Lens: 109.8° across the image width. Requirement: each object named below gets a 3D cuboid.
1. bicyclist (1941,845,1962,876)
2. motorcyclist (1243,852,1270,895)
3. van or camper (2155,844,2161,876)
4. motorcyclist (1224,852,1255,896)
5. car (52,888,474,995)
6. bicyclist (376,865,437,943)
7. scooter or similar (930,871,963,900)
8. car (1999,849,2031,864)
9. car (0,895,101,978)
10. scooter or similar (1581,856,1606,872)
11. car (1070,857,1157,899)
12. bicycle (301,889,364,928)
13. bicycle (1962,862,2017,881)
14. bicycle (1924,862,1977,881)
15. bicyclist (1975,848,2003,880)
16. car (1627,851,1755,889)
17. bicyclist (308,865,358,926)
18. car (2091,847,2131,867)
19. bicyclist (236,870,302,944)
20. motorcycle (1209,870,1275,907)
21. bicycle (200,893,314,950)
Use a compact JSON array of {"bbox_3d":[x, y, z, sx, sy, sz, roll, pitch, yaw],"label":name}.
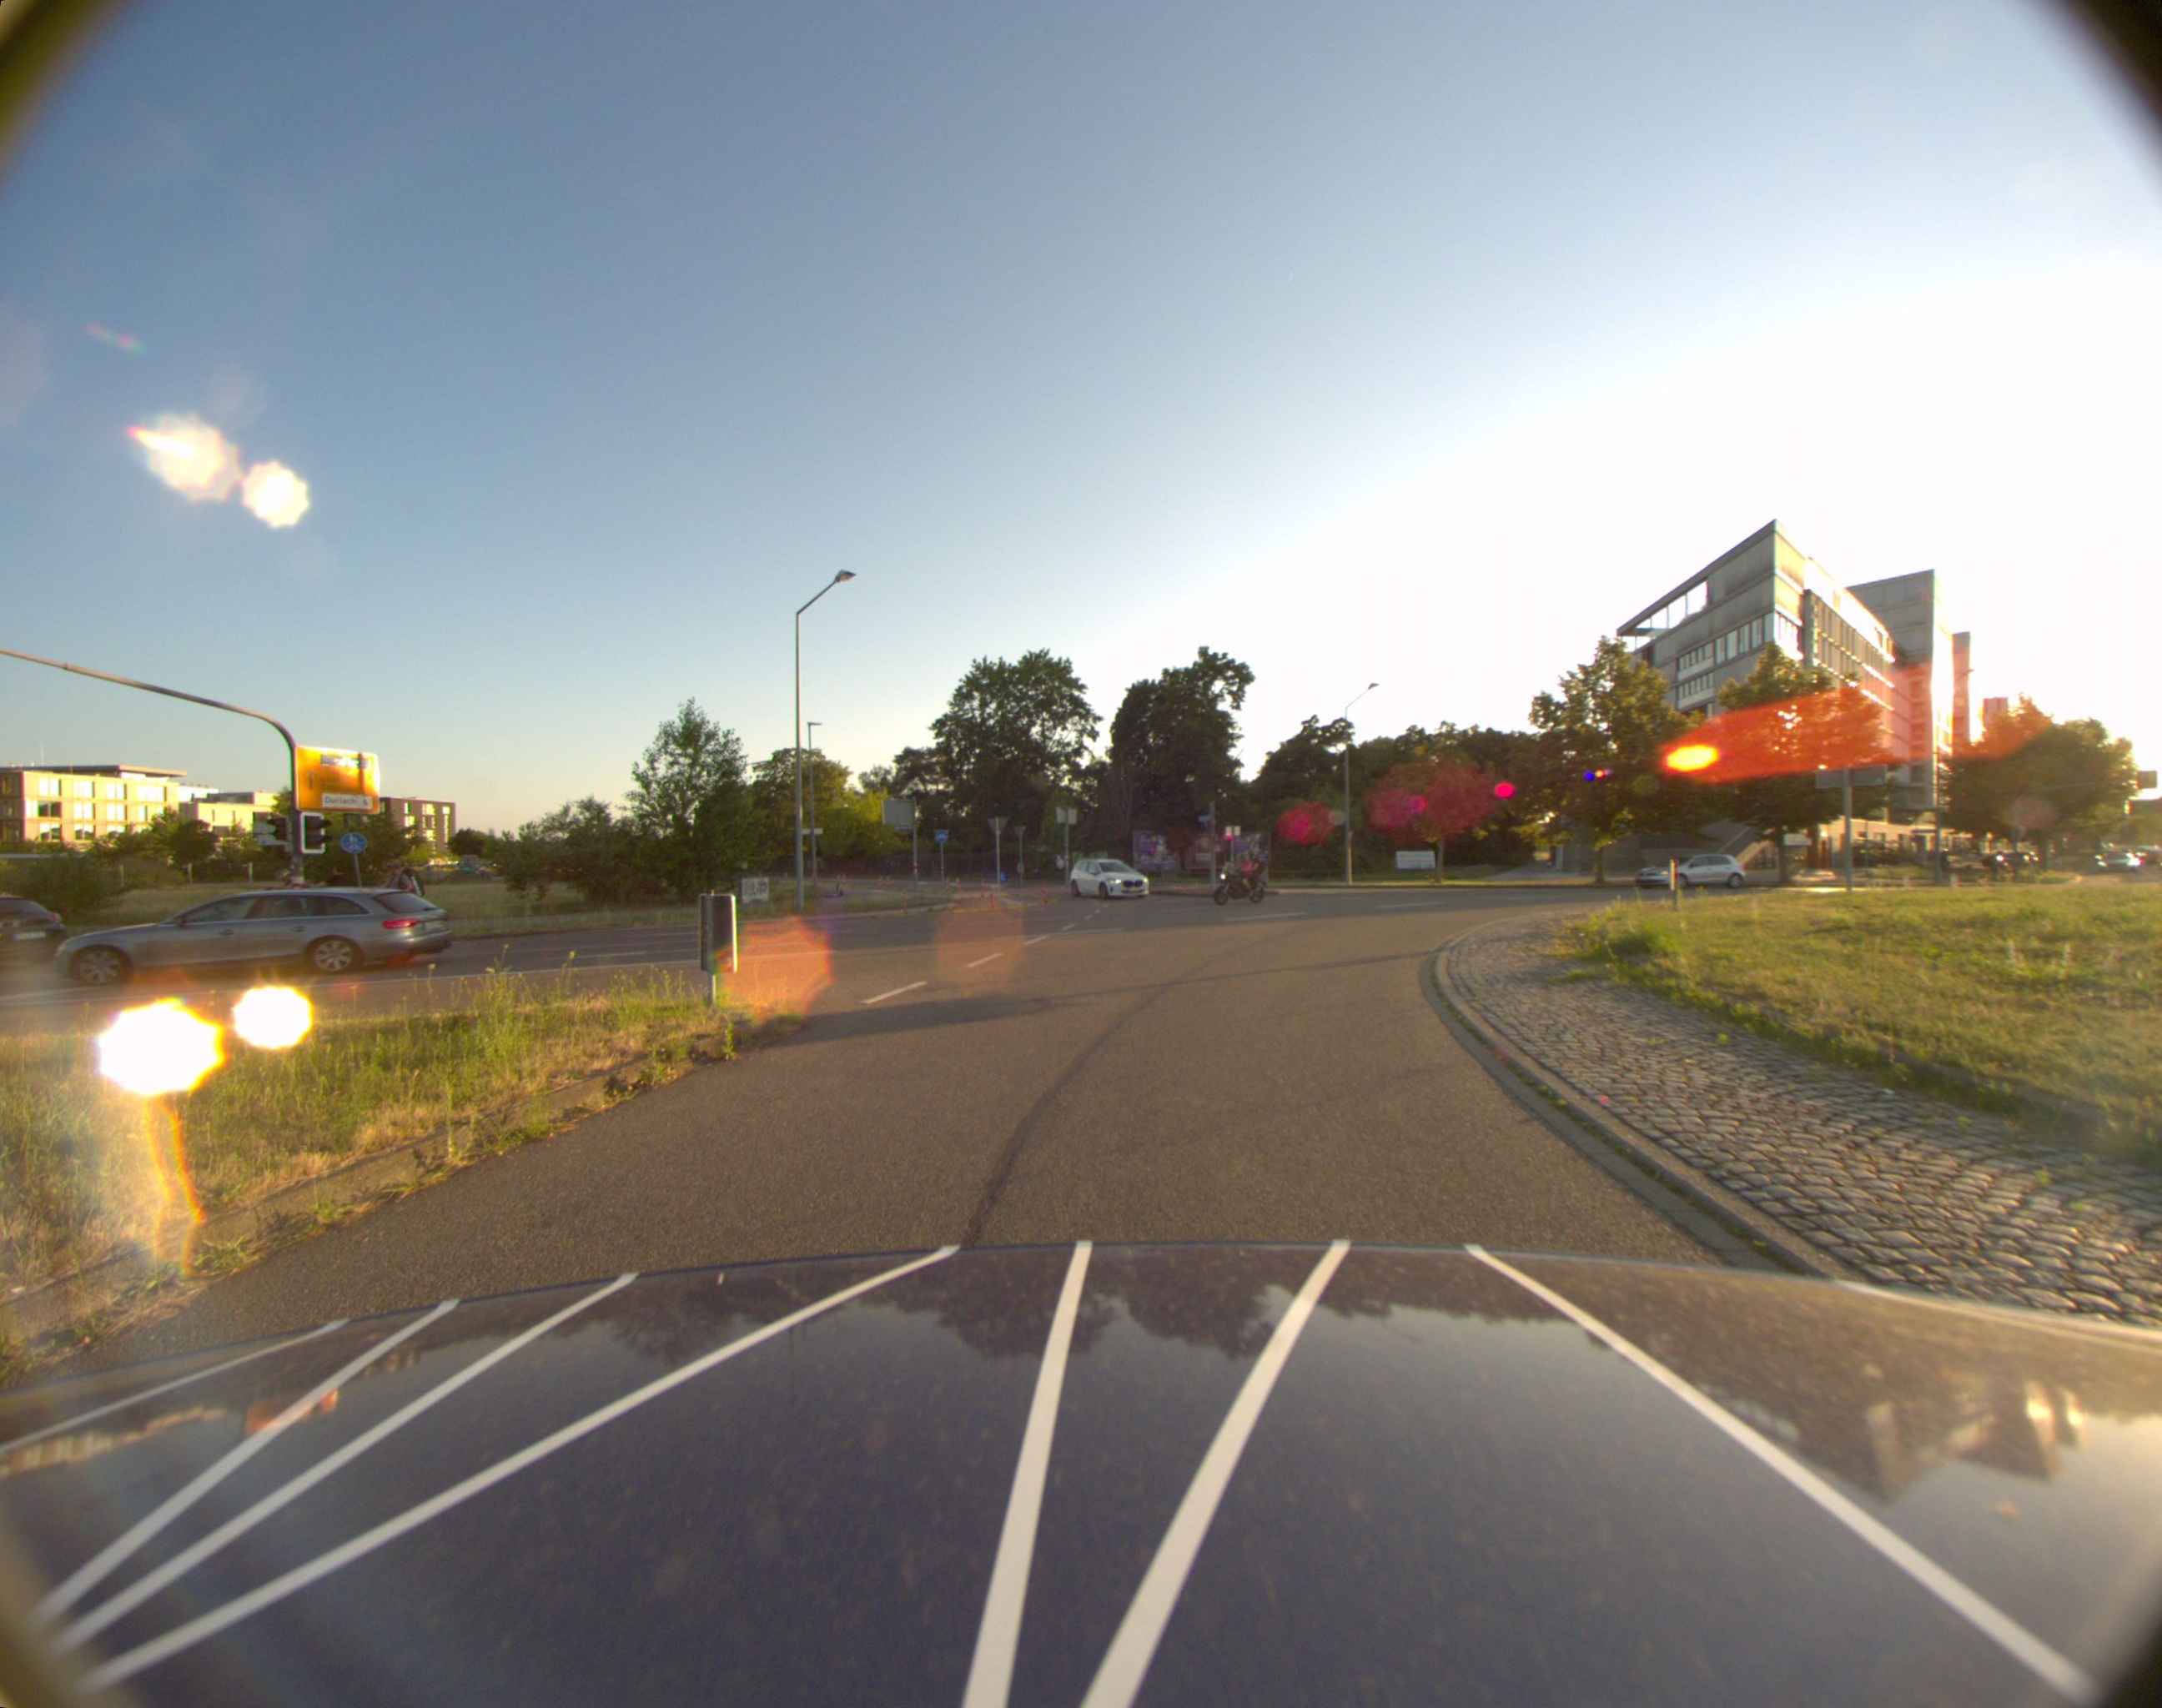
[{"bbox_3d":[47.216,0.357,41.223,0.682,1.638,0.685,0,0,44],"label":"bicyclist"},{"bbox_3d":[5.780,0.639,25.038,0.595,1.400,0.635,-1,1,-22],"label":"motorcyclist"},{"bbox_3d":[68.476,0.334,46.992,5.337,1.946,1.995,-1,0,-31],"label":"van or camper"},{"bbox_3d":[5.163,0.633,24.779,0.715,1.408,0.687,-1,1,-22],"label":"motorcyclist"},{"bbox_3d":[-13.161,1.343,12.601,4.451,1.414,1.801,0,0,-16],"label":"car"},{"bbox_3d":[-17.051,1.245,19.237,0.641,1.887,0.910,-1,2,1],"label":"bicyclist"},{"bbox_3d":[-5.590,1.294,31.580,0.441,1.156,1.386,0,0,39],"label":"scooter or similar"},{"bbox_3d":[89.553,0.222,72.824,4.008,1.455,1.798,0,0,-37],"label":"car"},{"bbox_3d":[-22.067,1.580,14.399,4.002,1.455,1.801,0,0,-14],"label":"car"},{"bbox_3d":[39.176,0.791,58.063,0.367,1.213,1.573,-1,0,-27],"label":"scooter or similar"},{"bbox_3d":[1.241,0.940,30.977,1.893,1.549,4.087,-1,0,-25],"label":"car"},{"bbox_3d":[-21.774,1.574,22.105,1.372,1.082,0.280,-1,0,-9],"label":"bicycle"},{"bbox_3d":[49.472,0.943,41.381,0.438,1.016,1.859,-1,0,-30],"label":"bicycle"},{"bbox_3d":[47.035,0.958,41.135,1.858,1.016,0.308,-1,0,43],"label":"bicycle"},{"bbox_3d":[49.172,0.539,41.139,0.805,1.745,0.847,-1,0,-30],"label":"bicyclist"},{"bbox_3d":[25.984,0.659,32.460,4.049,1.472,1.892,-1,0,-4],"label":"car"},{"bbox_3d":[-21.741,1.189,22.097,0.844,1.733,0.536,-1,0,-9],"label":"bicyclist"},{"bbox_3d":[80.413,0.203,59.326,4.007,1.455,1.798,-1,0,-37],"label":"car"},{"bbox_3d":[-19.291,1.244,18.066,0.641,1.693,0.770,-1,3,1],"label":"bicyclist"},{"bbox_3d":[5.259,1.105,24.819,2.162,1.094,0.557,-1,1,-23],"label":"motorcycle"},{"bbox_3d":[-19.267,1.550,17.830,0.456,1.079,1.928,-1,3,2],"label":"bicycle"}]
